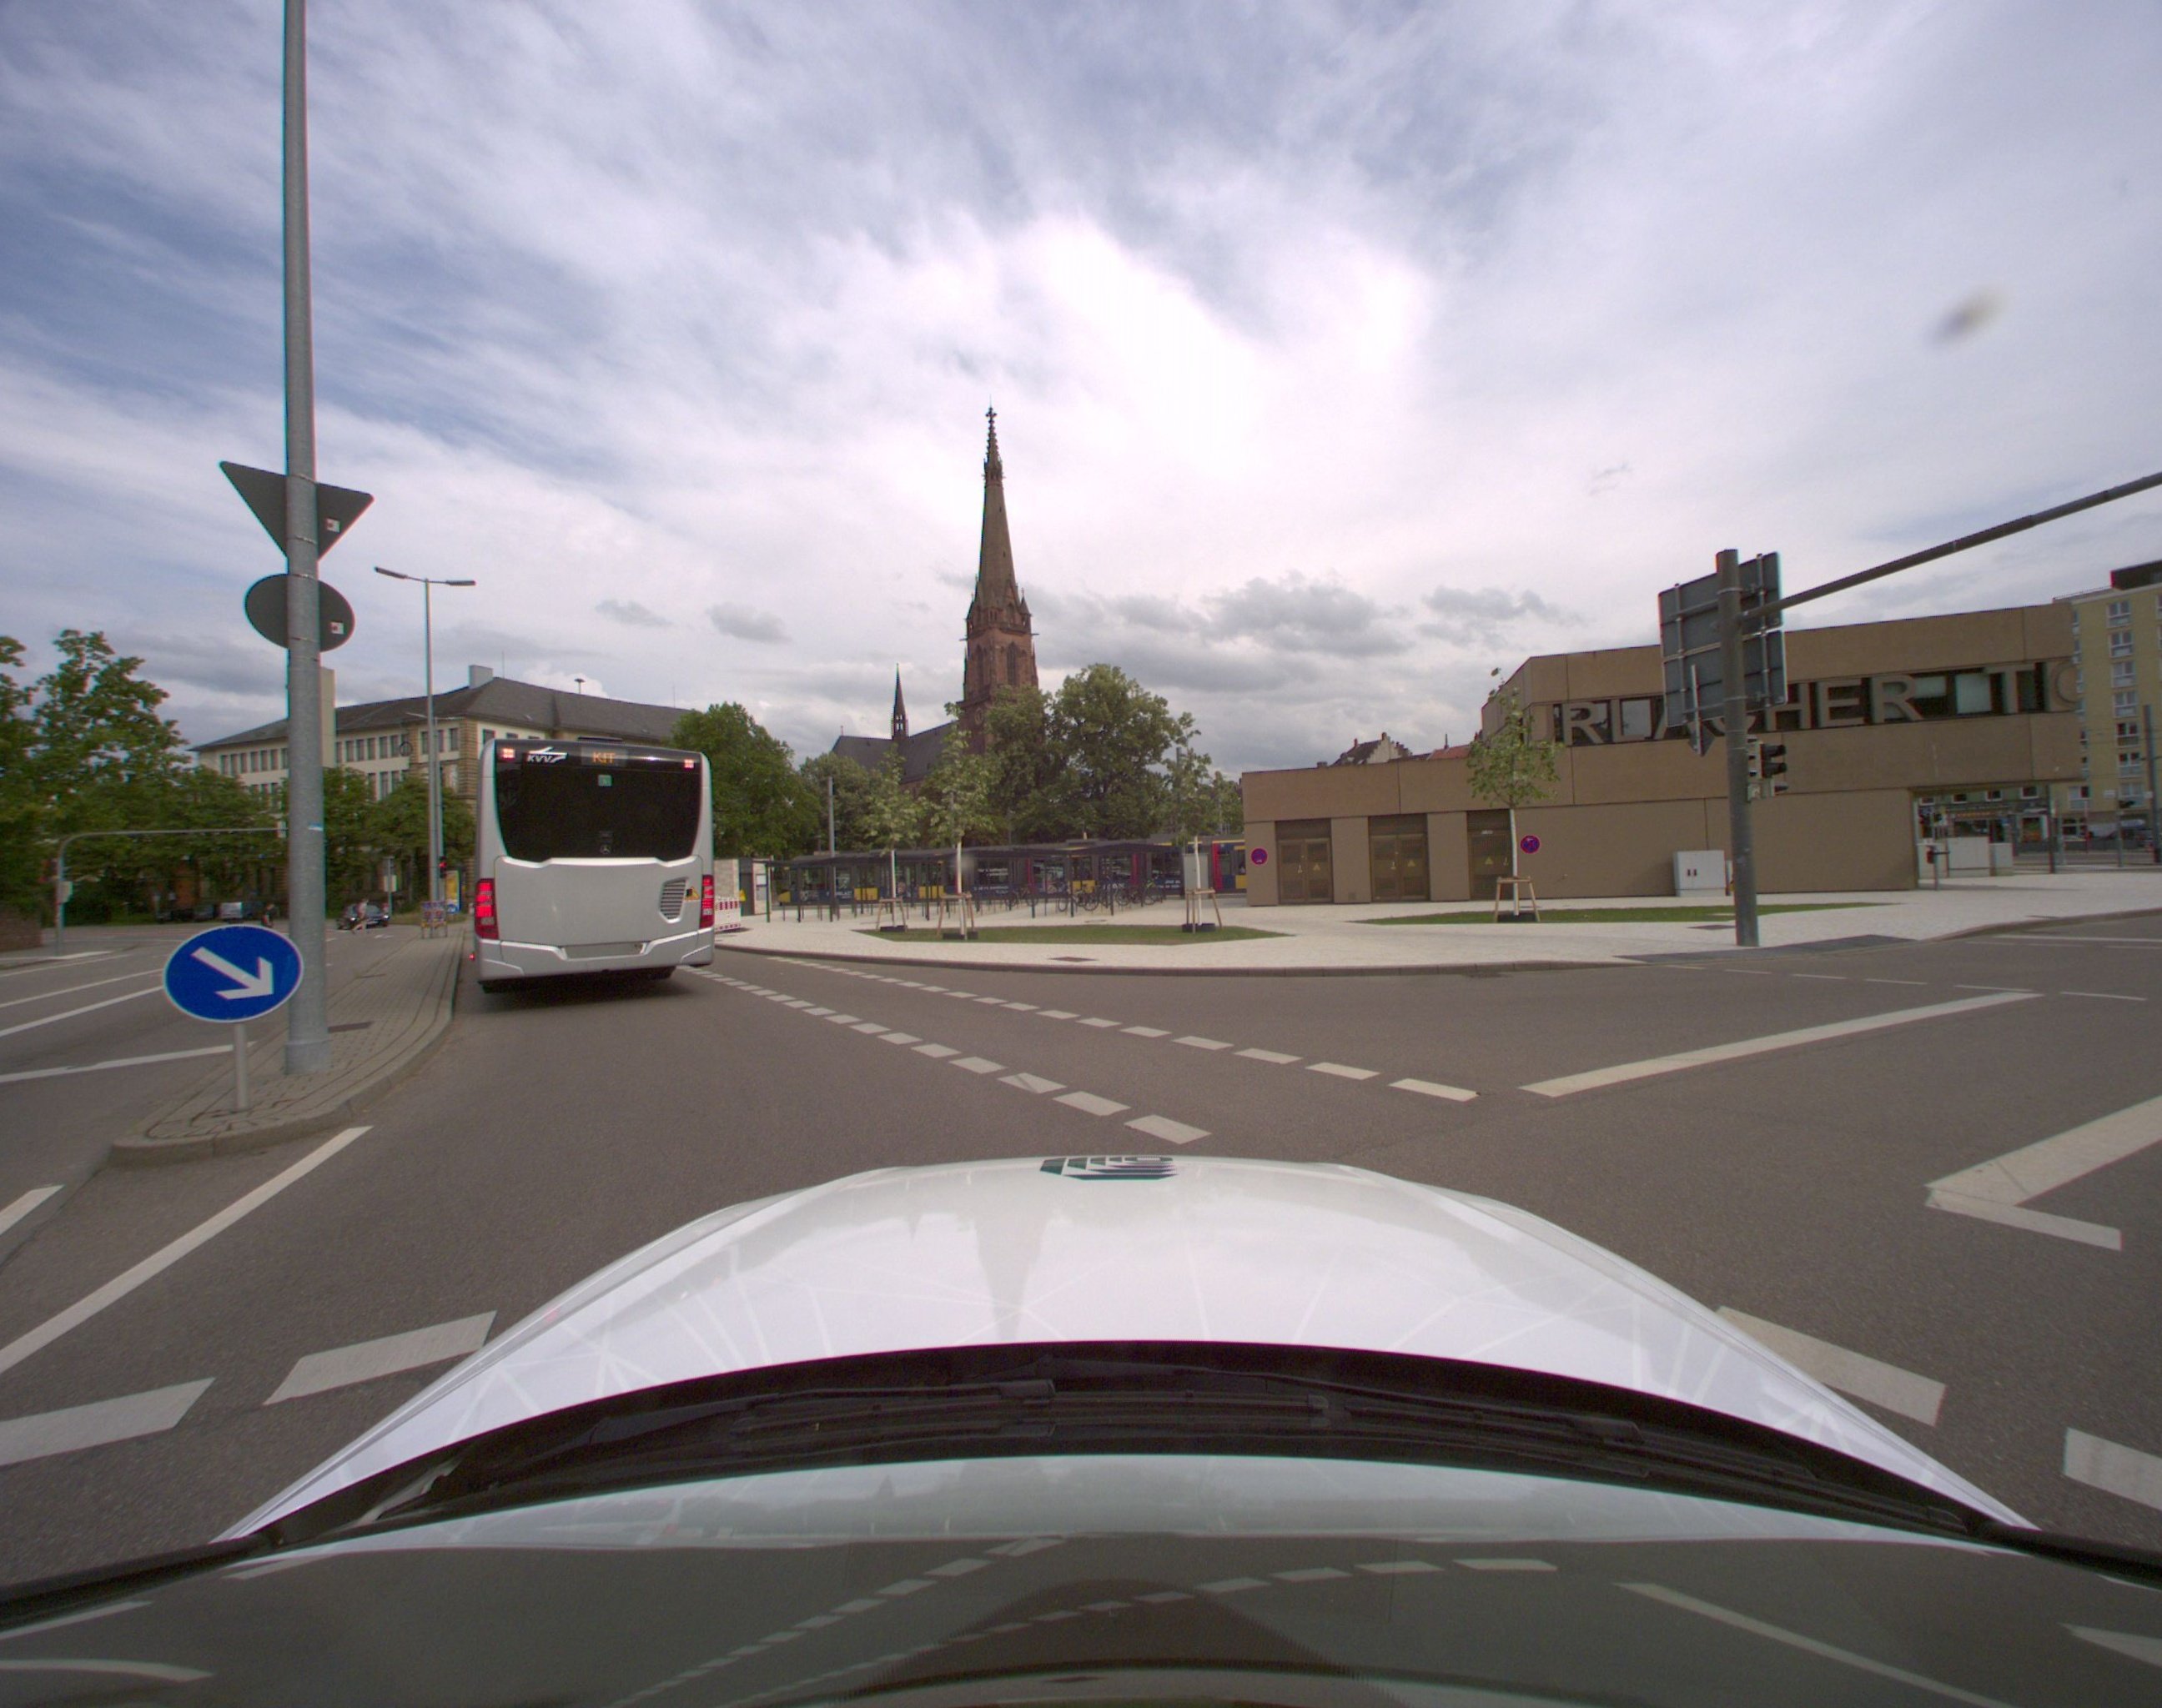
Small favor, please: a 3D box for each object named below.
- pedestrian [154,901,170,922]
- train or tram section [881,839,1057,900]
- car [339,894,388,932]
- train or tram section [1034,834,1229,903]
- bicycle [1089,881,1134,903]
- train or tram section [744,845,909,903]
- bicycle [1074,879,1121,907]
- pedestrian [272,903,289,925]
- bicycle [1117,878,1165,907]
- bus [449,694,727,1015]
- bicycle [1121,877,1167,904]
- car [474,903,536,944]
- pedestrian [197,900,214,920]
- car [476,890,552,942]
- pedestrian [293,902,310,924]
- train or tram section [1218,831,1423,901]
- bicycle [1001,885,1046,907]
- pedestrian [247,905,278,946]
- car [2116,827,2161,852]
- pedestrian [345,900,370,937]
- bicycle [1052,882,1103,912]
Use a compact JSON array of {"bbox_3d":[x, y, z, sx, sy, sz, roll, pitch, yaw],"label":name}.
[{"bbox_3d":[-94.413,5.915,83.662,0.996,2.014,0.895,-3,-2,26],"label":"pedestrian"},{"bbox_3d":[-6.337,0.880,46.187,9.325,3.212,3.076,-1,0,17],"label":"train or tram section"},{"bbox_3d":[-43.544,3.512,49.393,2.012,2.013,3.951,-1,0,-44],"label":"car"},{"bbox_3d":[2.713,0.786,43.396,9.820,3.450,3.076,-1,0,17],"label":"train or tram section"},{"bbox_3d":[1.411,1.727,37.350,1.946,0.970,0.586,-1,0,14],"label":"bicycle"},{"bbox_3d":[-15.258,1.175,48.916,9.266,3.277,3.076,-1,0,17],"label":"train or tram section"},{"bbox_3d":[0.712,1.665,35.158,1.948,1.156,0.585,-1,0,8],"label":"bicycle"},{"bbox_3d":[-76.920,5.750,78.263,0.996,2.014,0.895,-3,-2,26],"label":"pedestrian"},{"bbox_3d":[2.544,1.638,34.506,1.948,1.156,0.585,-1,0,8],"label":"bicycle"},{"bbox_3d":[-9.750,0.364,15.190,2.725,3.439,14.025,-1,-3,-36],"label":"bus"},{"bbox_3d":[2.793,1.622,35.946,1.948,1.156,0.585,-1,0,8],"label":"bicycle"},{"bbox_3d":[-24.497,2.894,34.608,2.009,1.361,4.227,-1,1,-36],"label":"car"},{"bbox_3d":[-88.583,5.651,82.406,0.996,2.014,0.895,-3,-2,26],"label":"pedestrian"},{"bbox_3d":[-20.244,2.133,29.028,2.010,1.486,3.955,-1,1,-38],"label":"car"},{"bbox_3d":[-73.620,5.604,76.899,0.996,2.014,0.895,-3,-2,26],"label":"pedestrian"},{"bbox_3d":[11.804,0.621,40.589,9.396,3.246,3.076,-1,0,17],"label":"train or tram section"},{"bbox_3d":[-2.653,1.922,37.334,1.946,0.955,0.586,-1,0,14],"label":"bicycle"},{"bbox_3d":[-36.745,3.193,36.582,0.803,1.711,0.831,-1,0,-33],"label":"pedestrian"},{"bbox_3d":[85.359,-1.169,65.386,4.007,2.013,1.983,-1,0,-26],"label":"car"},{"bbox_3d":[-35.846,3.185,40.362,0.803,1.711,0.831,-1,0,-33],"label":"pedestrian"},{"bbox_3d":[-0.128,1.702,32.487,1.948,1.156,0.585,-1,0,8],"label":"bicycle"}]
